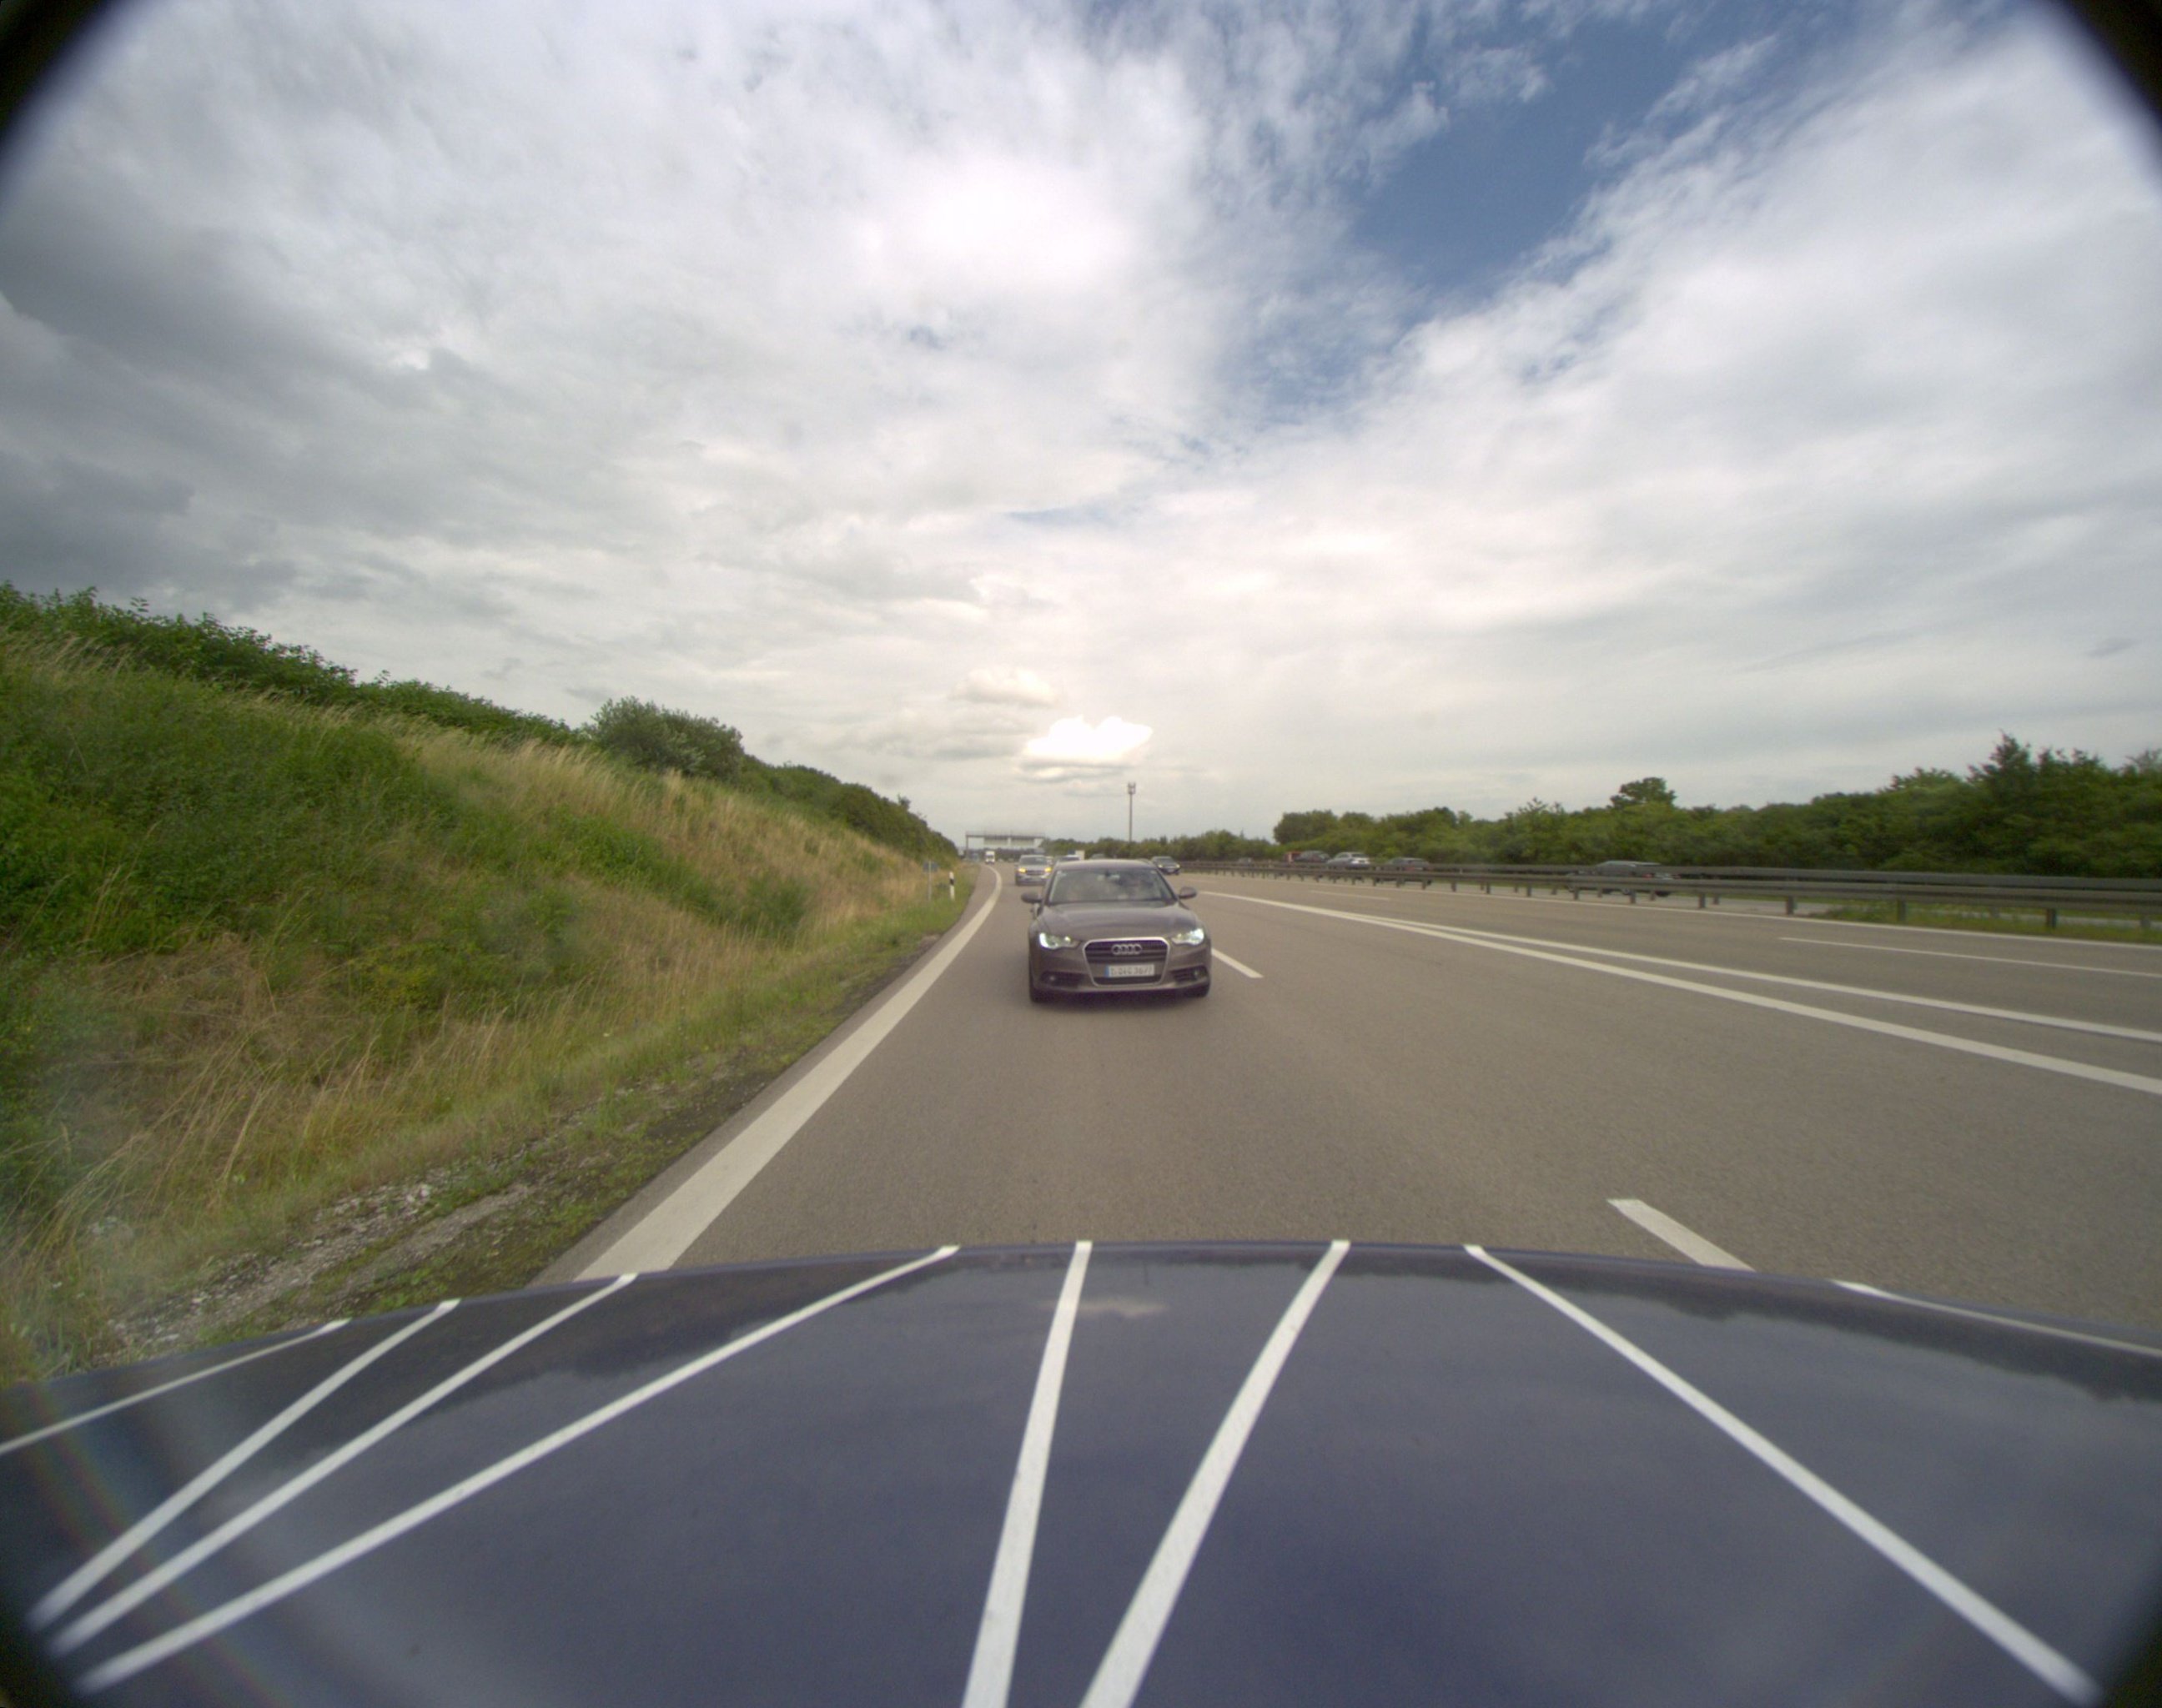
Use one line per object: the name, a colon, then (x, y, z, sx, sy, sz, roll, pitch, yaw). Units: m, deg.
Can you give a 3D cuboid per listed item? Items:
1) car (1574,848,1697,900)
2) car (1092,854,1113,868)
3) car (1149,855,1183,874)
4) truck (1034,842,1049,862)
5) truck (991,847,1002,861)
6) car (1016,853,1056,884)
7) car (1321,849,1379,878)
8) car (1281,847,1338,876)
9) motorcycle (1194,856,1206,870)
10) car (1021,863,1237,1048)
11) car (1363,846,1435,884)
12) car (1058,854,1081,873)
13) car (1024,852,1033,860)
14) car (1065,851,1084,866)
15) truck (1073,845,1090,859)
car: (23.597, 0.802, 32.541, 2.000, 2.002, 3.997, -2, 1, -8)
car: (2.758, 0.898, 97.466, 1.999, 1.775, 5.409, -1, 0, -6)
car: (6.732, 0.819, 60.954, 1.727, 1.415, 4.794, 0, 0, -6)
truck: (-7.511, -0.311, 143.451, 2.475, 3.350, 7.922, -1, -2, -6)
truck: (-20.701, -0.016, 186.072, 2.450, 3.216, 7.187, -1, 0, -7)
car: (-2.515, 0.762, 41.220, 1.999, 1.567, 3.998, -1, 0, -6)
car: (20.481, 0.703, 58.098, 2.169, 2.120, 4.871, -1, 0, -7)
car: (19.428, 0.616, 65.067, 2.169, 2.317, 6.672, -1, 0, -7)
motorcycle: (12.758, 0.992, 81.402, 0.659, 1.436, 2.394, -2, 1, -6)
car: (0.289, 0.896, 8.603, 1.849, 1.489, 4.027, -2, 0, -4)
car: (17.847, 0.569, 42.830, 2.000, 2.002, 3.997, -1, 0, -7)
car: (-1.072, 0.836, 68.494, 1.839, 1.557, 4.496, -1, 0, -3)
car: (-15.200, 0.576, 220.976, 2.000, 2.002, 3.995, -2, 1, -12)
car: (-0.833, 0.519, 92.858, 1.882, 1.741, 4.484, -1, 0, -6)
truck: (0.028, -0.612, 206.738, 3.168, 3.508, 9.971, -2, 1, -9)
